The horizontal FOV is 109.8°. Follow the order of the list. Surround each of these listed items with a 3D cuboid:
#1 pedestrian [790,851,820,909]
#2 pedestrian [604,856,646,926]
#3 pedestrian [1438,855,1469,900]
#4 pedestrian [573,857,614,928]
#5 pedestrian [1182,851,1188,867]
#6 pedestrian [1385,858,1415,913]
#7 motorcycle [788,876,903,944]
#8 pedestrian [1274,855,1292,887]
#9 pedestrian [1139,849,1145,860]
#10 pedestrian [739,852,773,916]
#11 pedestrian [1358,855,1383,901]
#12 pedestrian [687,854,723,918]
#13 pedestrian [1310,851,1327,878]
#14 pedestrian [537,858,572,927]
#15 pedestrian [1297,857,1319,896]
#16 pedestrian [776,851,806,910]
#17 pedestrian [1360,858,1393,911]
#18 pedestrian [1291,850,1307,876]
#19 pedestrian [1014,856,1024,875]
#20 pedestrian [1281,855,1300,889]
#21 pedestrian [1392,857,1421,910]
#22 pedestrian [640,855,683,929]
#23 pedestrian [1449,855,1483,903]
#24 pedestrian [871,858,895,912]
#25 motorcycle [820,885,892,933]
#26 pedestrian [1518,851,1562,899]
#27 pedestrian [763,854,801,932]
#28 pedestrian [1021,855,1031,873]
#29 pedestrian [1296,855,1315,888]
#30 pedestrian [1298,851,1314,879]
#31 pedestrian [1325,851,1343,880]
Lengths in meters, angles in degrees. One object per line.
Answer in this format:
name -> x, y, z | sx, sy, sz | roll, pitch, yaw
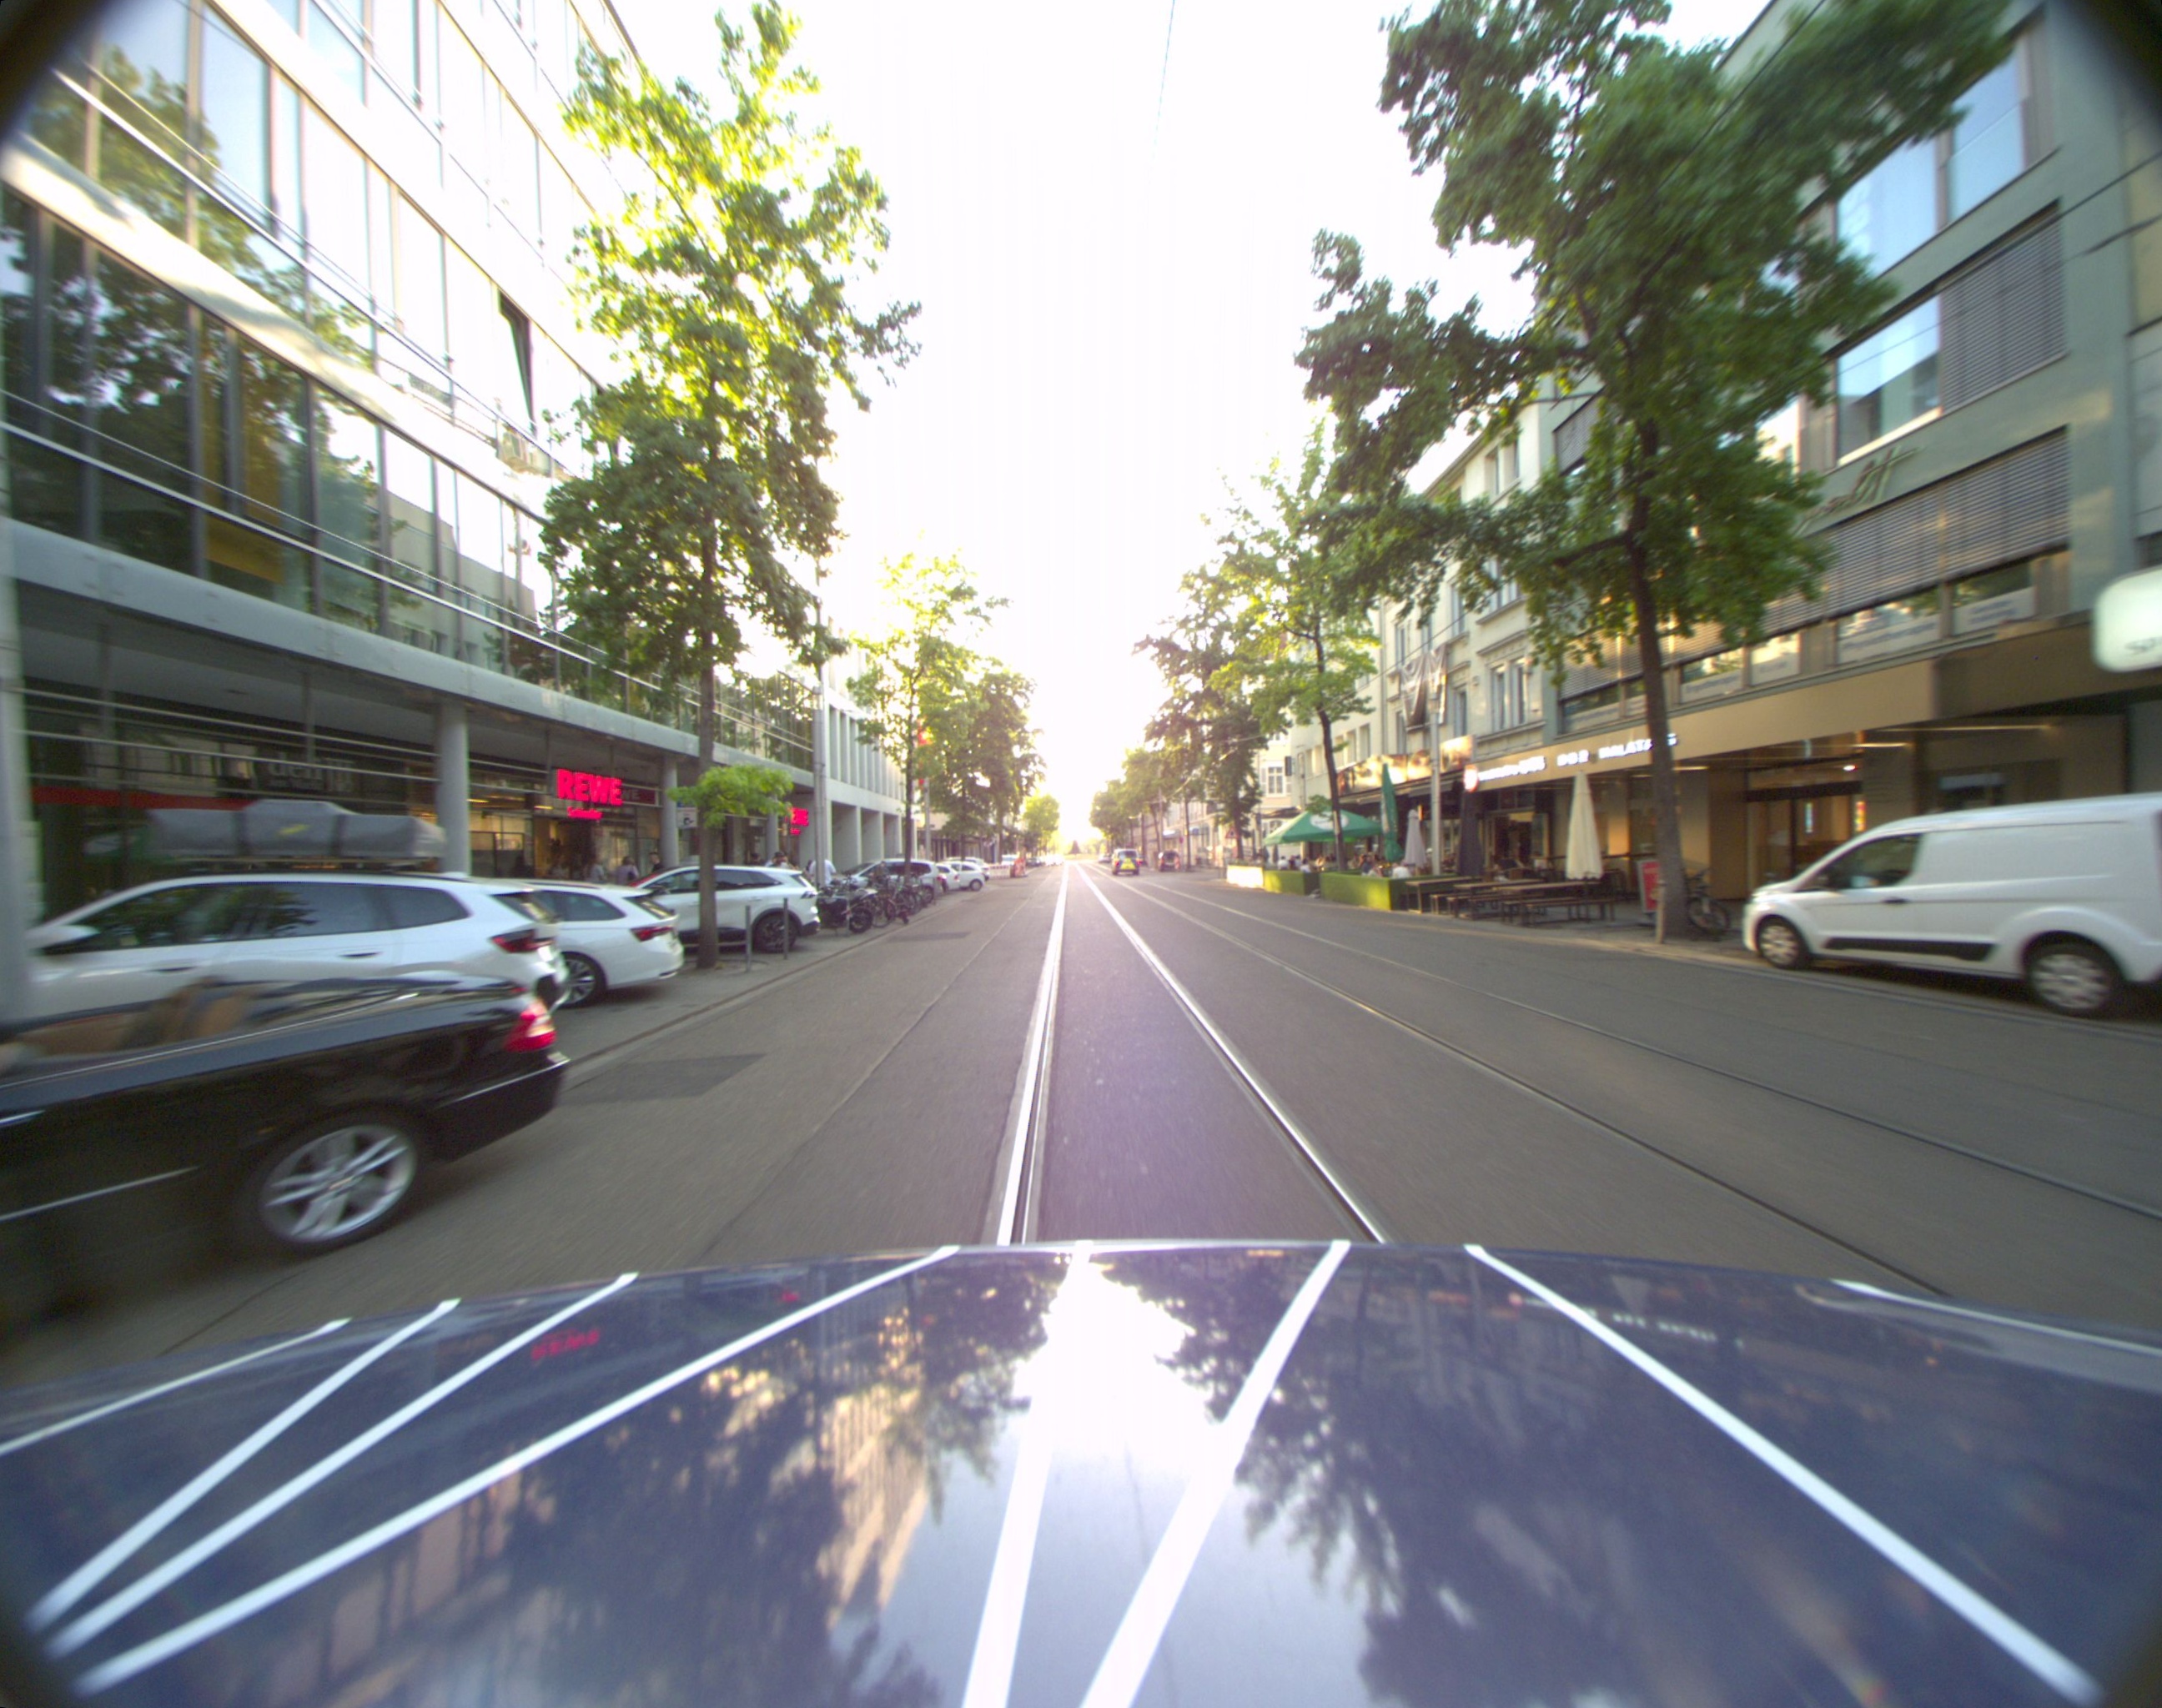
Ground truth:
pedestrian -> -8.041, 0.747, 22.168 | 0.618, 1.681, 0.628 | 0, 1, 0
pedestrian -> -11.153, 0.898, 18.601 | 0.618, 1.681, 0.628 | 0, 1, 0
pedestrian -> 12.117, 0.756, 24.713 | 0.650, 1.451, 0.650 | -1, 1, -2
pedestrian -> -11.923, 0.925, 18.601 | 0.558, 1.681, 0.628 | 0, 1, 0
pedestrian -> 9.868, 0.479, 72.075 | 0.490, 1.451, 0.543 | -1, 1, -2
pedestrian -> 8.680, 0.851, 20.649 | 0.648, 1.451, 0.651 | -1, 1, 29
motorcycle -> -5.153, 1.182, 16.729 | 1.153, 1.346, 2.115 | 1, 0, 41
pedestrian -> 8.764, 0.736, 33.016 | 0.649, 1.378, 0.650 | -1, 1, 6
pedestrian -> 7.955, 0.019, 99.597 | 0.650, 1.451, 0.650 | -1, 1, -2
pedestrian -> -8.781, 0.793, 20.527 | 0.618, 1.681, 0.628 | 0, 1, 0
pedestrian -> 9.337, 0.781, 24.557 | 0.649, 1.451, 0.651 | -1, 1, 13
pedestrian -> -10.015, 0.839, 20.241 | 0.618, 1.681, 0.628 | 0, 1, 0
pedestrian -> 12.826, 0.553, 41.017 | 0.650, 1.451, 0.650 | -1, 1, -2
pedestrian -> -13.155, 0.943, 18.989 | 0.629, 1.681, 0.556 | -2, 2, -43
pedestrian -> 8.339, 0.813, 27.880 | 0.649, 1.378, 0.650 | -1, 1, 6
pedestrian -> -8.461, 0.761, 22.168 | 0.618, 1.681, 0.628 | 0, 1, 0
pedestrian -> 8.386, 0.850, 21.587 | 0.649, 1.451, 0.650 | -1, 1, 0
pedestrian -> 12.289, 0.517, 42.790 | 0.650, 1.451, 0.650 | -1, 1, -2
pedestrian -> -4.786, 0.876, 58.840 | 0.650, 1.451, 0.649 | -1, 1, -17
pedestrian -> 8.772, 0.751, 31.774 | 0.649, 1.378, 0.650 | -1, 1, 6
pedestrian -> 9.182, 0.824, 21.437 | 0.649, 1.451, 0.651 | -1, 1, 17
pedestrian -> -9.776, 0.861, 17.705 | 0.618, 1.681, 0.628 | 0, 1, 0
pedestrian -> 12.032, 0.770, 23.756 | 0.650, 1.451, 0.649 | -1, 1, -9
pedestrian -> -6.328, 0.986, 24.309 | 0.618, 1.681, 0.628 | -1, 1, -5
motorcycle -> -5.389, 1.301, 18.219 | 1.574, 1.093, 0.627 | 1, 1, -25
pedestrian -> 12.784, 0.578, 21.183 | 0.701, 1.308, 0.786 | -1, 1, -5
pedestrian -> -7.030, 0.909, 17.880 | 0.618, 1.789, 0.628 | 0, 1, 0
pedestrian -> -4.425, 0.832, 61.463 | 0.650, 1.451, 0.649 | -1, 1, -17
pedestrian -> 9.365, 0.731, 31.750 | 0.649, 1.378, 0.650 | -1, 1, 6
pedestrian -> 12.123, 0.579, 40.954 | 0.650, 1.451, 0.650 | -1, 1, -2
pedestrian -> 12.960, 0.574, 38.927 | 0.650, 1.451, 0.650 | -1, 1, -2
